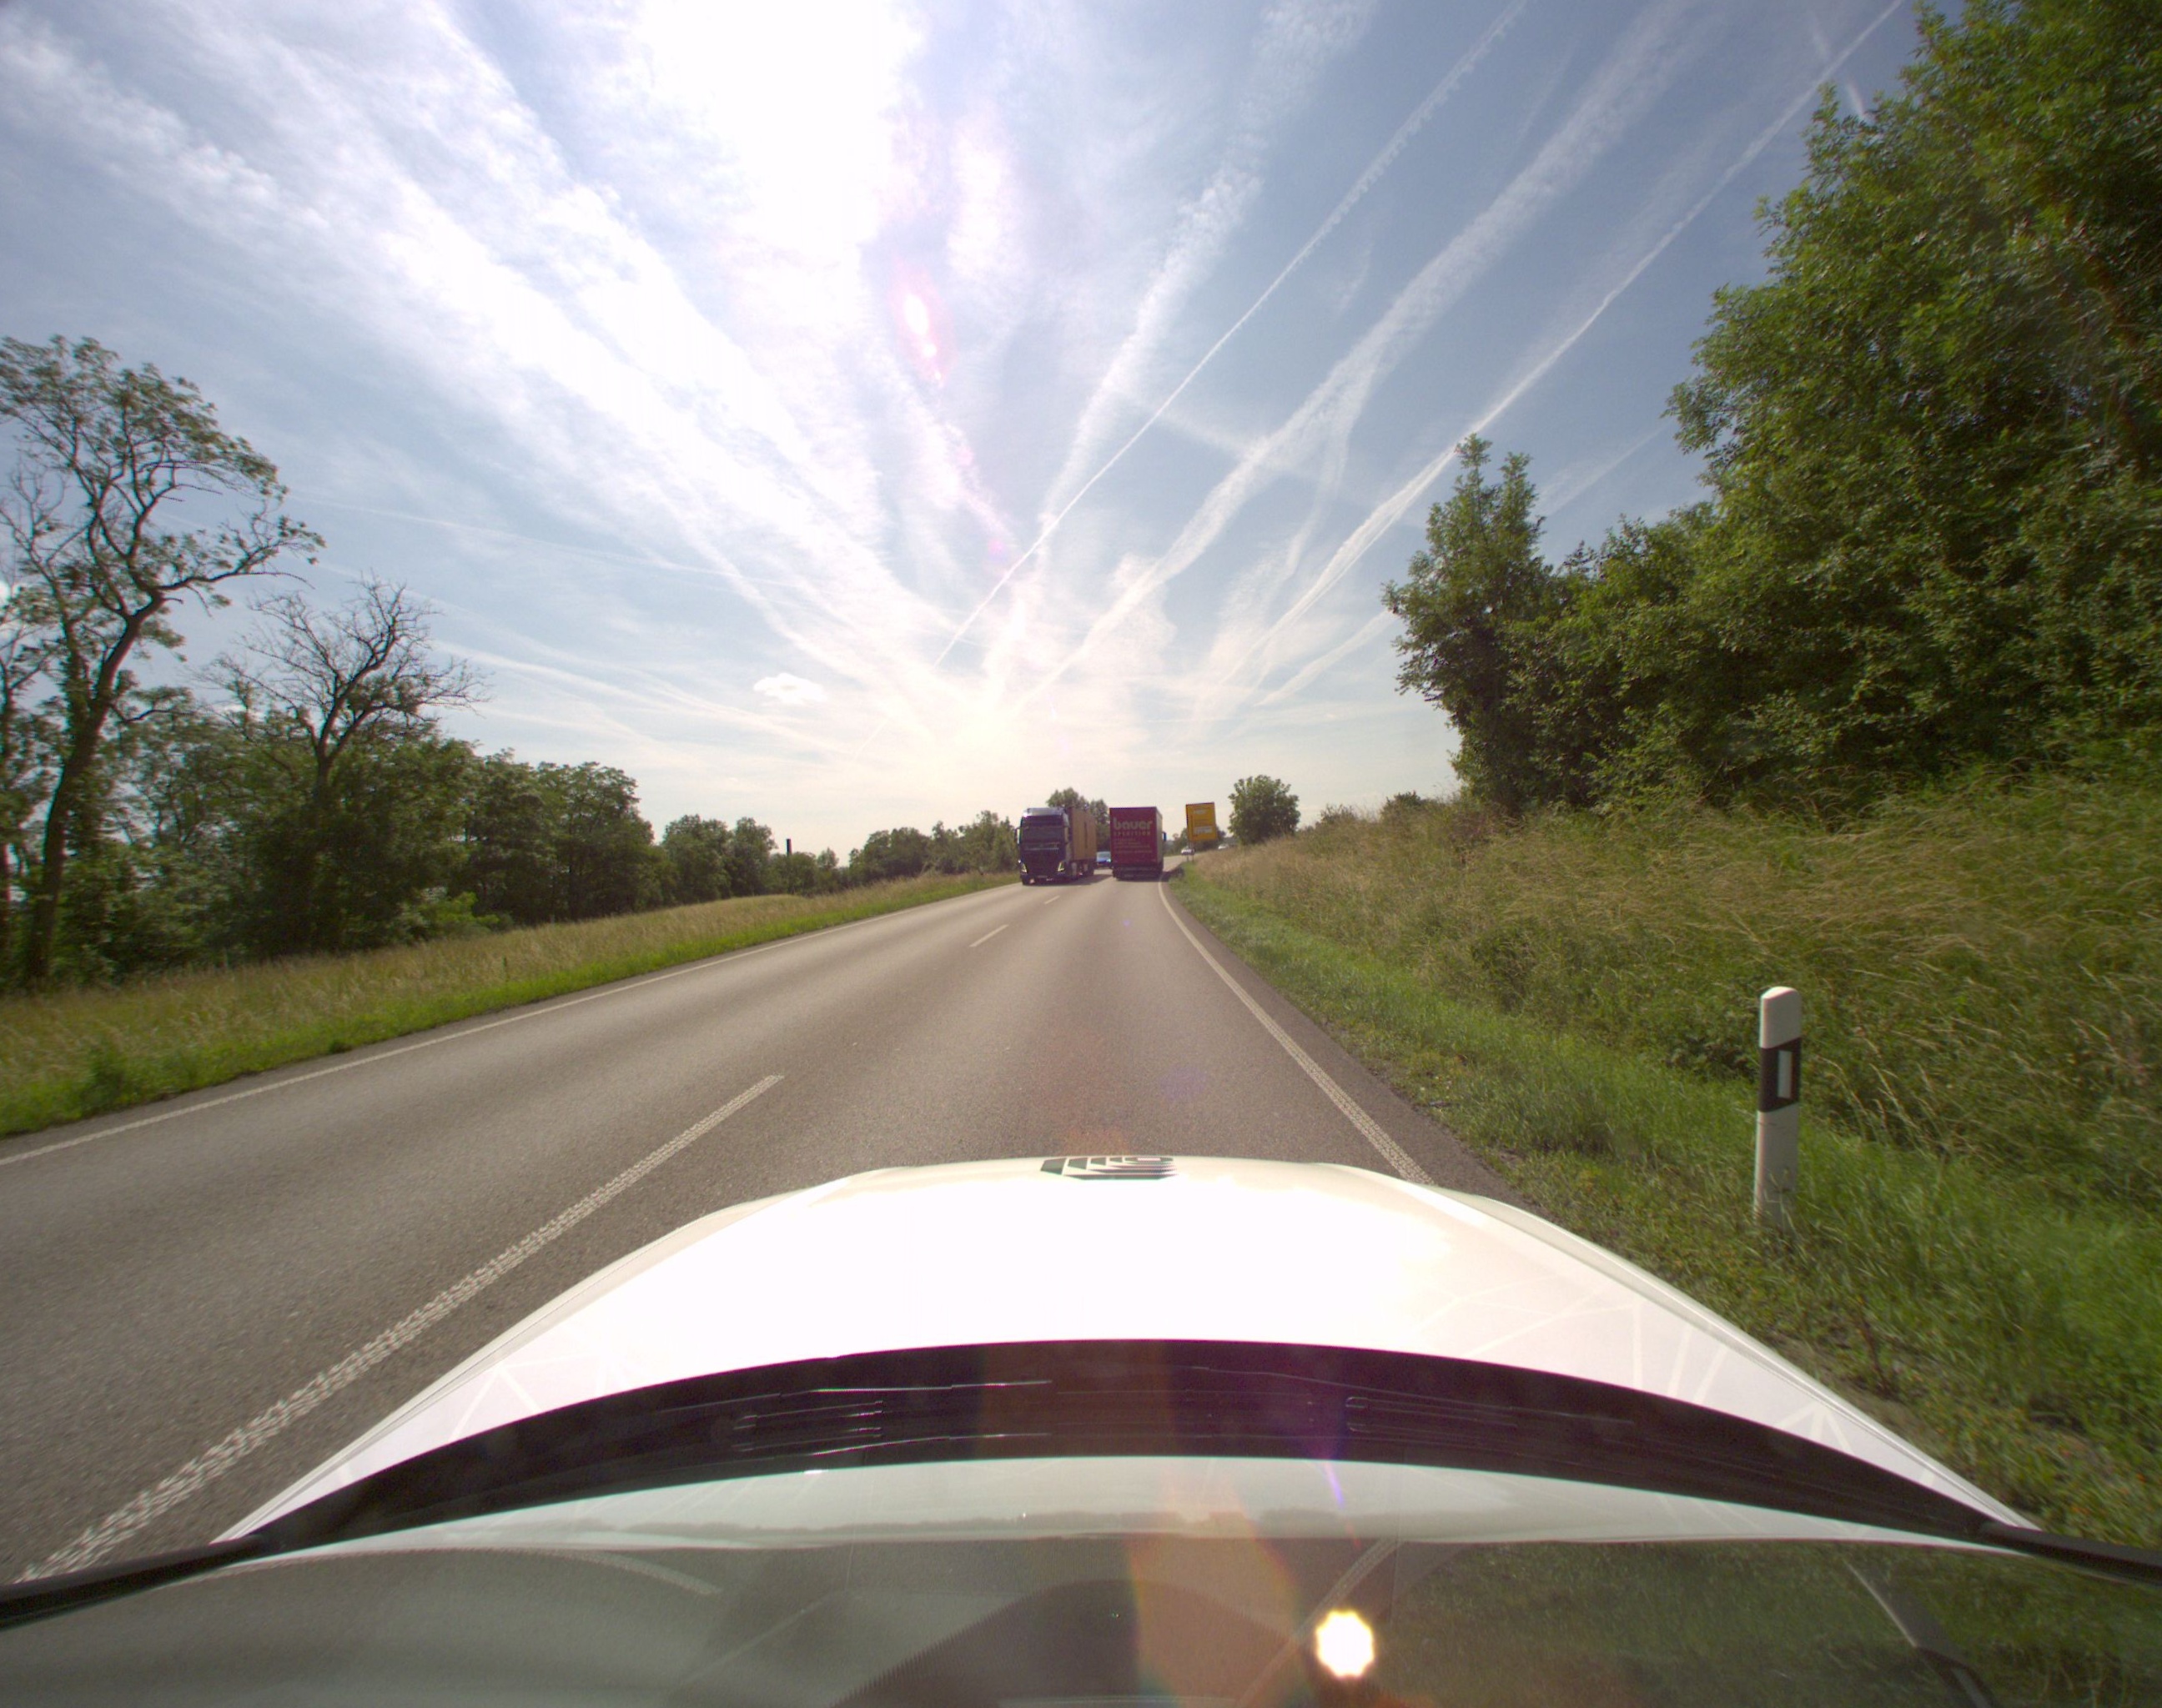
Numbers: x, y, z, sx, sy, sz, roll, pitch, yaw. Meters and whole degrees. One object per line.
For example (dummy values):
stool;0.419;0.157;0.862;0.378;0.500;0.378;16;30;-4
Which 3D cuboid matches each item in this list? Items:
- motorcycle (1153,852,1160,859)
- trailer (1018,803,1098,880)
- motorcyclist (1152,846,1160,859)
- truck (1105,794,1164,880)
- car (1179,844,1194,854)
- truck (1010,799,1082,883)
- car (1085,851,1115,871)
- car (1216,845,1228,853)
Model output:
motorcycle;10.675;0.209;115.735;0.752;0.994;2.286;2;1;10
trailer;-1.091;-0.736;50.195;2.981;4.043;12.942;-2;0;7
motorcyclist;10.617;-0.238;115.510;0.913;1.718;0.965;-2;0;10
truck;3.406;-0.947;49.530;3.097;4.505;12.185;-1;0;5
car;18.077;-0.829;139.350;1.777;1.522;4.178;-6;0;16
truck;-1.753;-0.667;43.431;2.792;4.067;5.996;-2;0;6
car;1.679;0.561;70.563;1.852;1.485;4.370;-6;0;9
car;30.322;-1.127;175.081;1.818;1.616;4.383;-5;0;18
